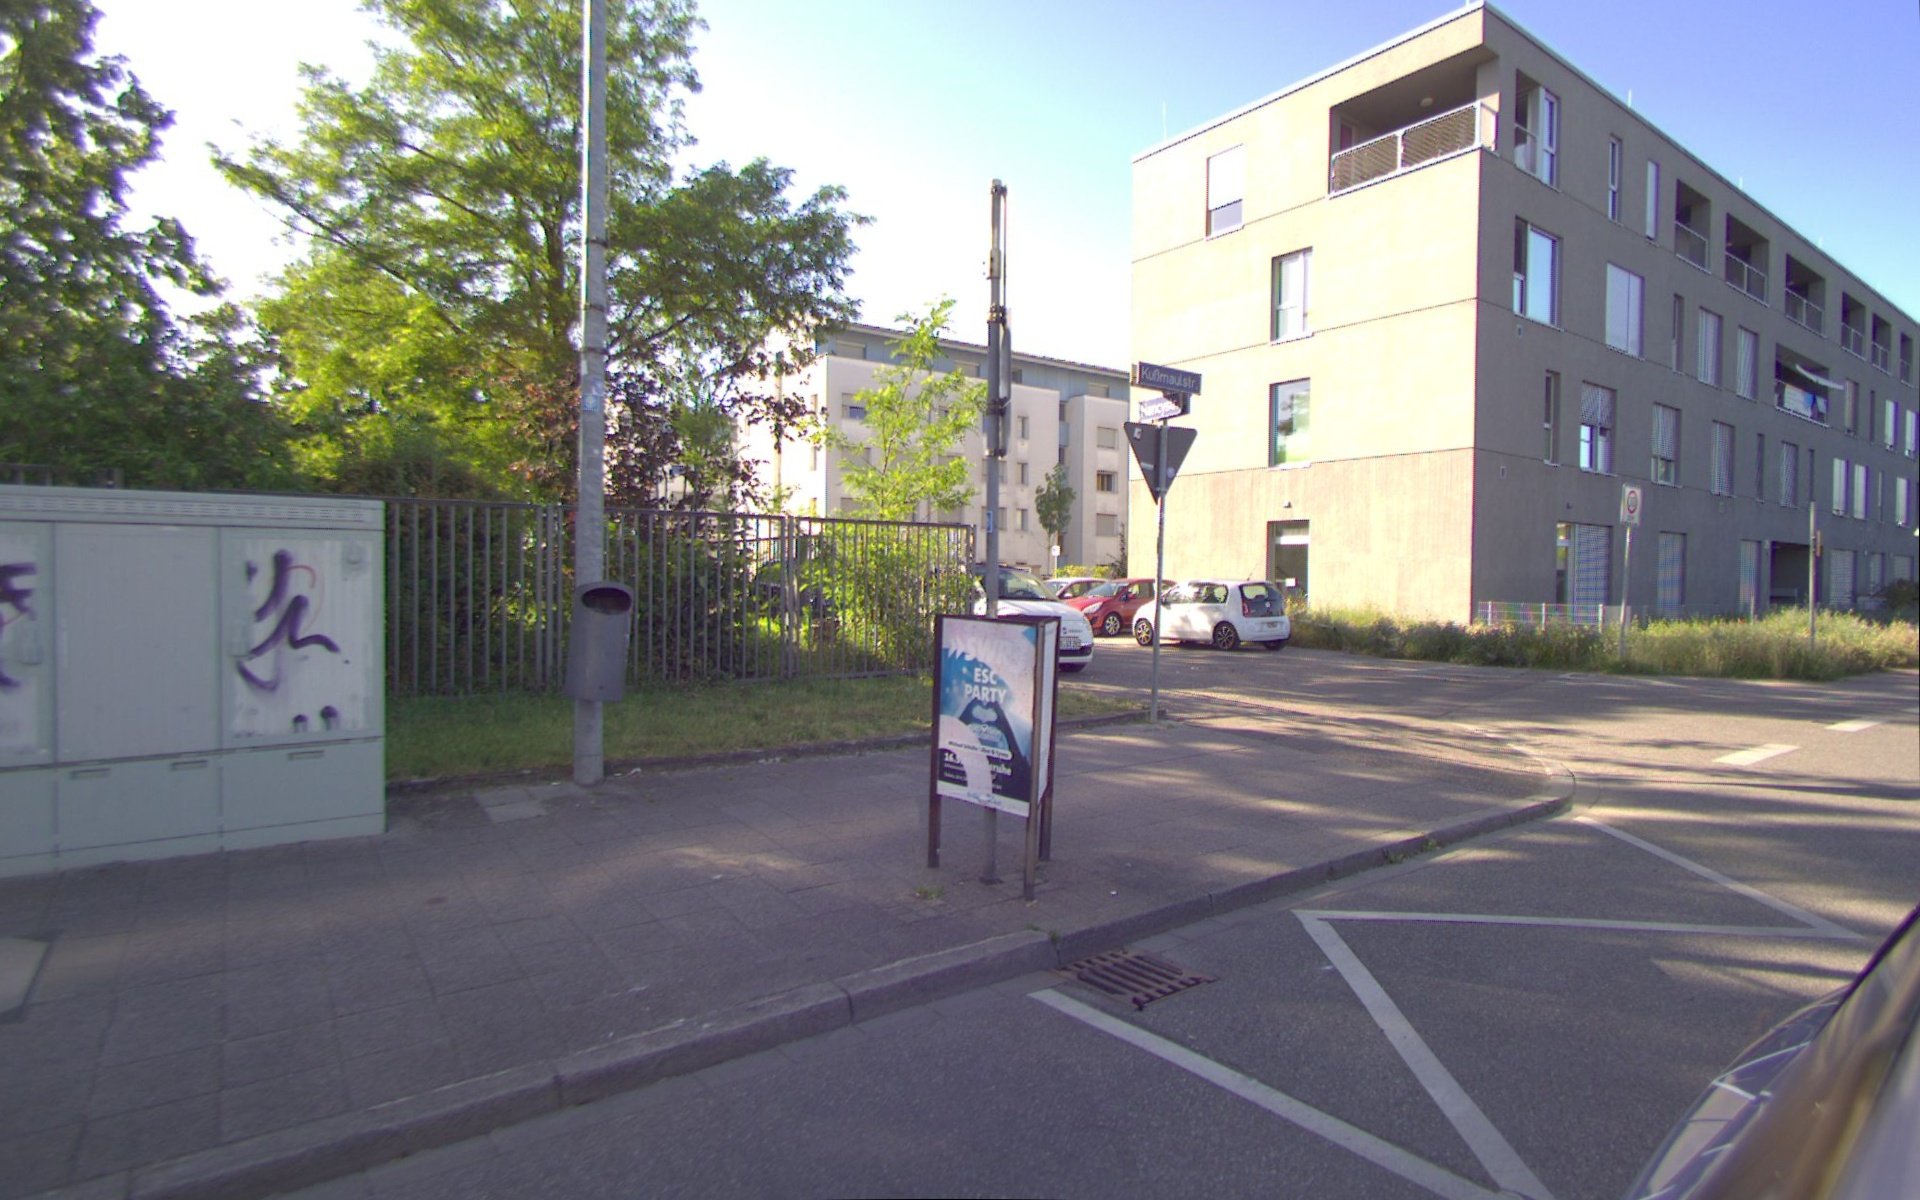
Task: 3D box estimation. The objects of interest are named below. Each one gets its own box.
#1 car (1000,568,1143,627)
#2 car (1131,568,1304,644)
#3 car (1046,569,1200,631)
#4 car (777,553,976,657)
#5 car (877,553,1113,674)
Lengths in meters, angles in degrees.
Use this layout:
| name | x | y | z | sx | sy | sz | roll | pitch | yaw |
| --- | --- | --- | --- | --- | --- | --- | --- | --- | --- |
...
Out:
| name | x | y | z | sx | sy | sz | roll | pitch | yaw |
| --- | --- | --- | --- | --- | --- | --- | --- | --- | --- |
| car | 3.190 | -0.089 | 28.685 | 3.925 | 1.539 | 1.698 | 0 | 2 | -36 |
| car | 5.378 | 0.064 | 21.496 | 1.681 | 1.476 | 3.341 | 0 | 2 | -31 |
| car | 4.306 | -0.035 | 26.503 | 3.925 | 1.488 | 1.698 | 0 | 2 | -36 |
| car | -1.635 | 0.011 | 18.272 | 1.722 | 1.657 | 4.167 | 0 | 2 | -35 |
| car | 0.384 | 0.108 | 14.555 | 1.570 | 1.504 | 3.559 | 0 | 2 | -35 |
